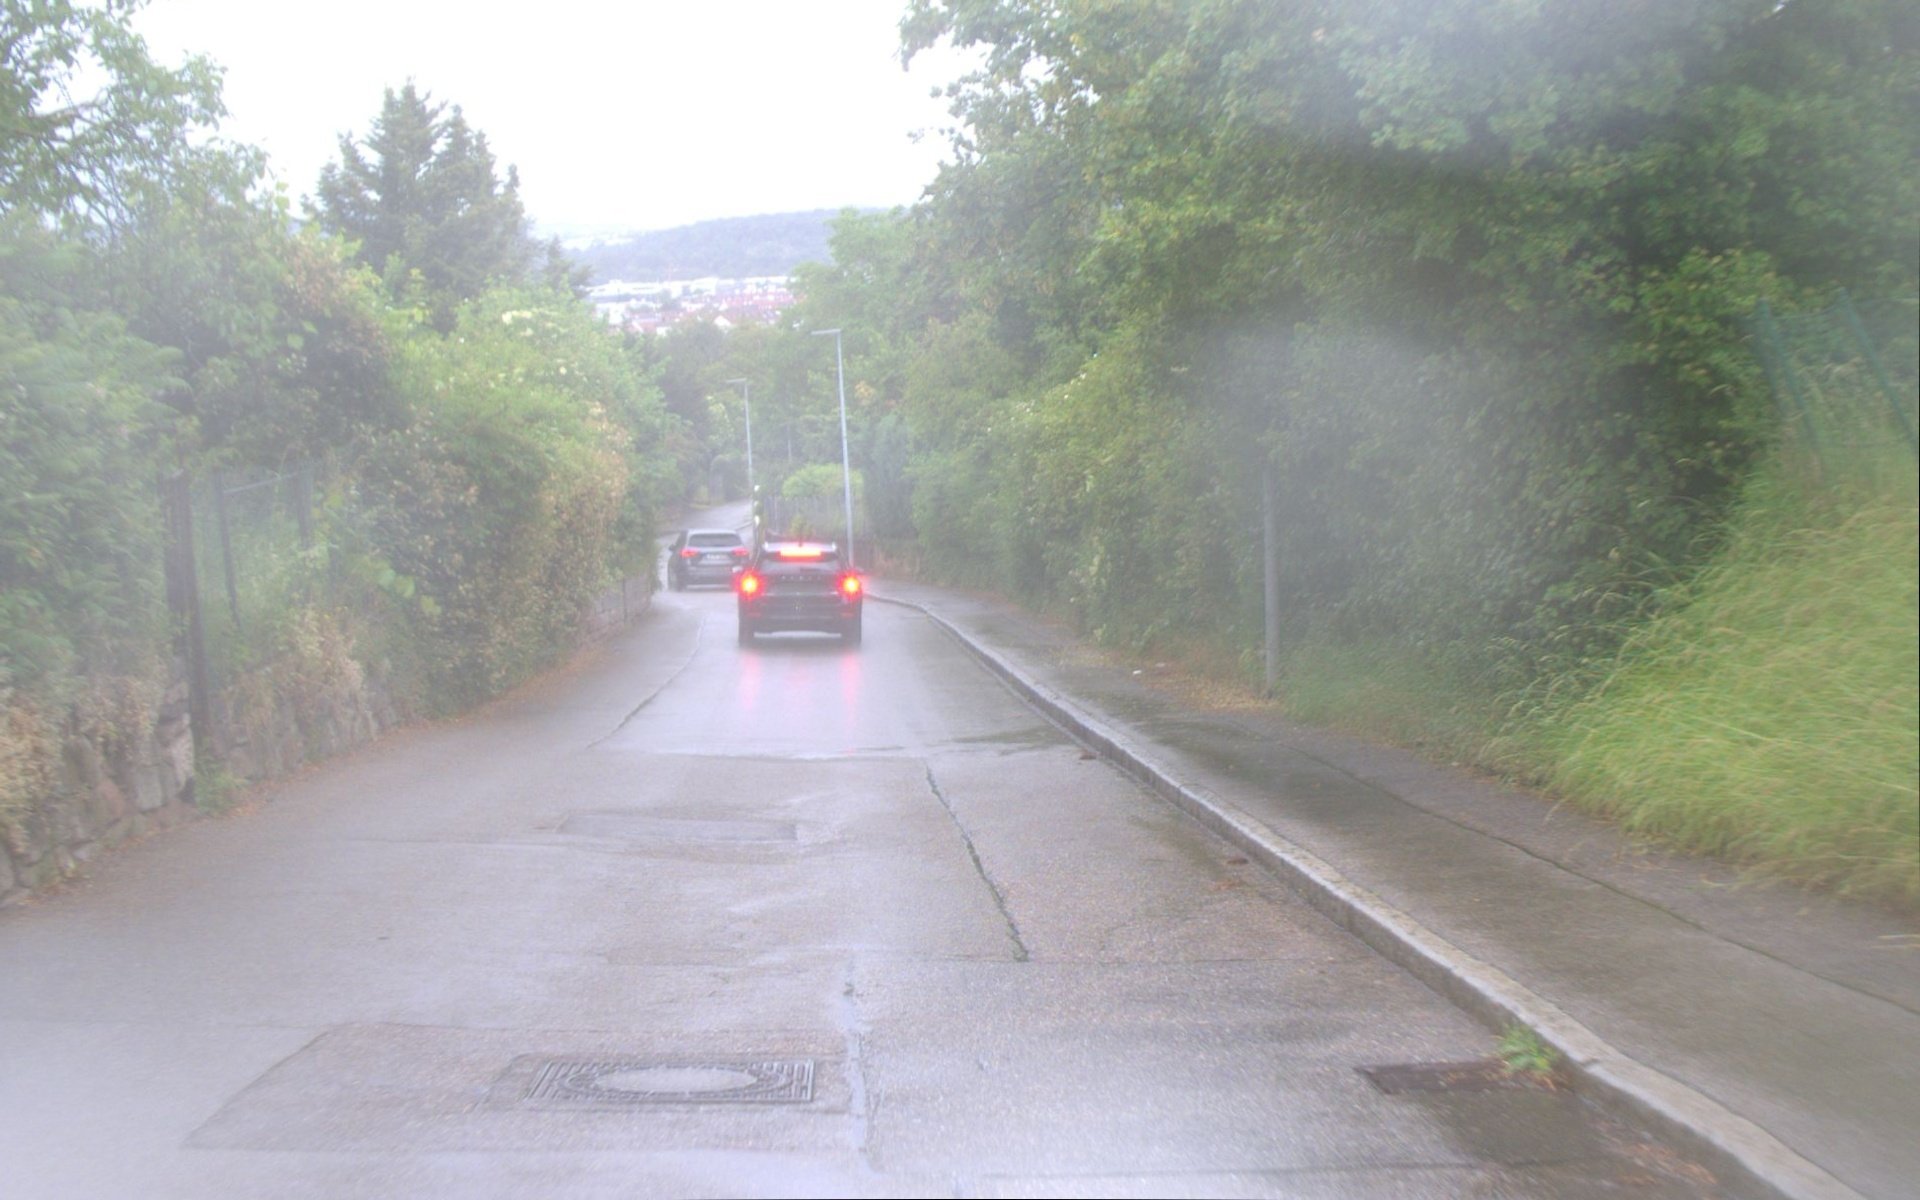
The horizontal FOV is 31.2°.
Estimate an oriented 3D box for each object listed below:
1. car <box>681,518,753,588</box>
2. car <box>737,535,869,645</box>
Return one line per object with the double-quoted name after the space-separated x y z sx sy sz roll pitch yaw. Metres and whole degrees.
-5.984 -1.165 84.423 1.678 1.559 3.795 -1 3 -5 "car"
-2.270 -0.179 49.841 1.834 1.459 4.001 0 2 -3 "car"
